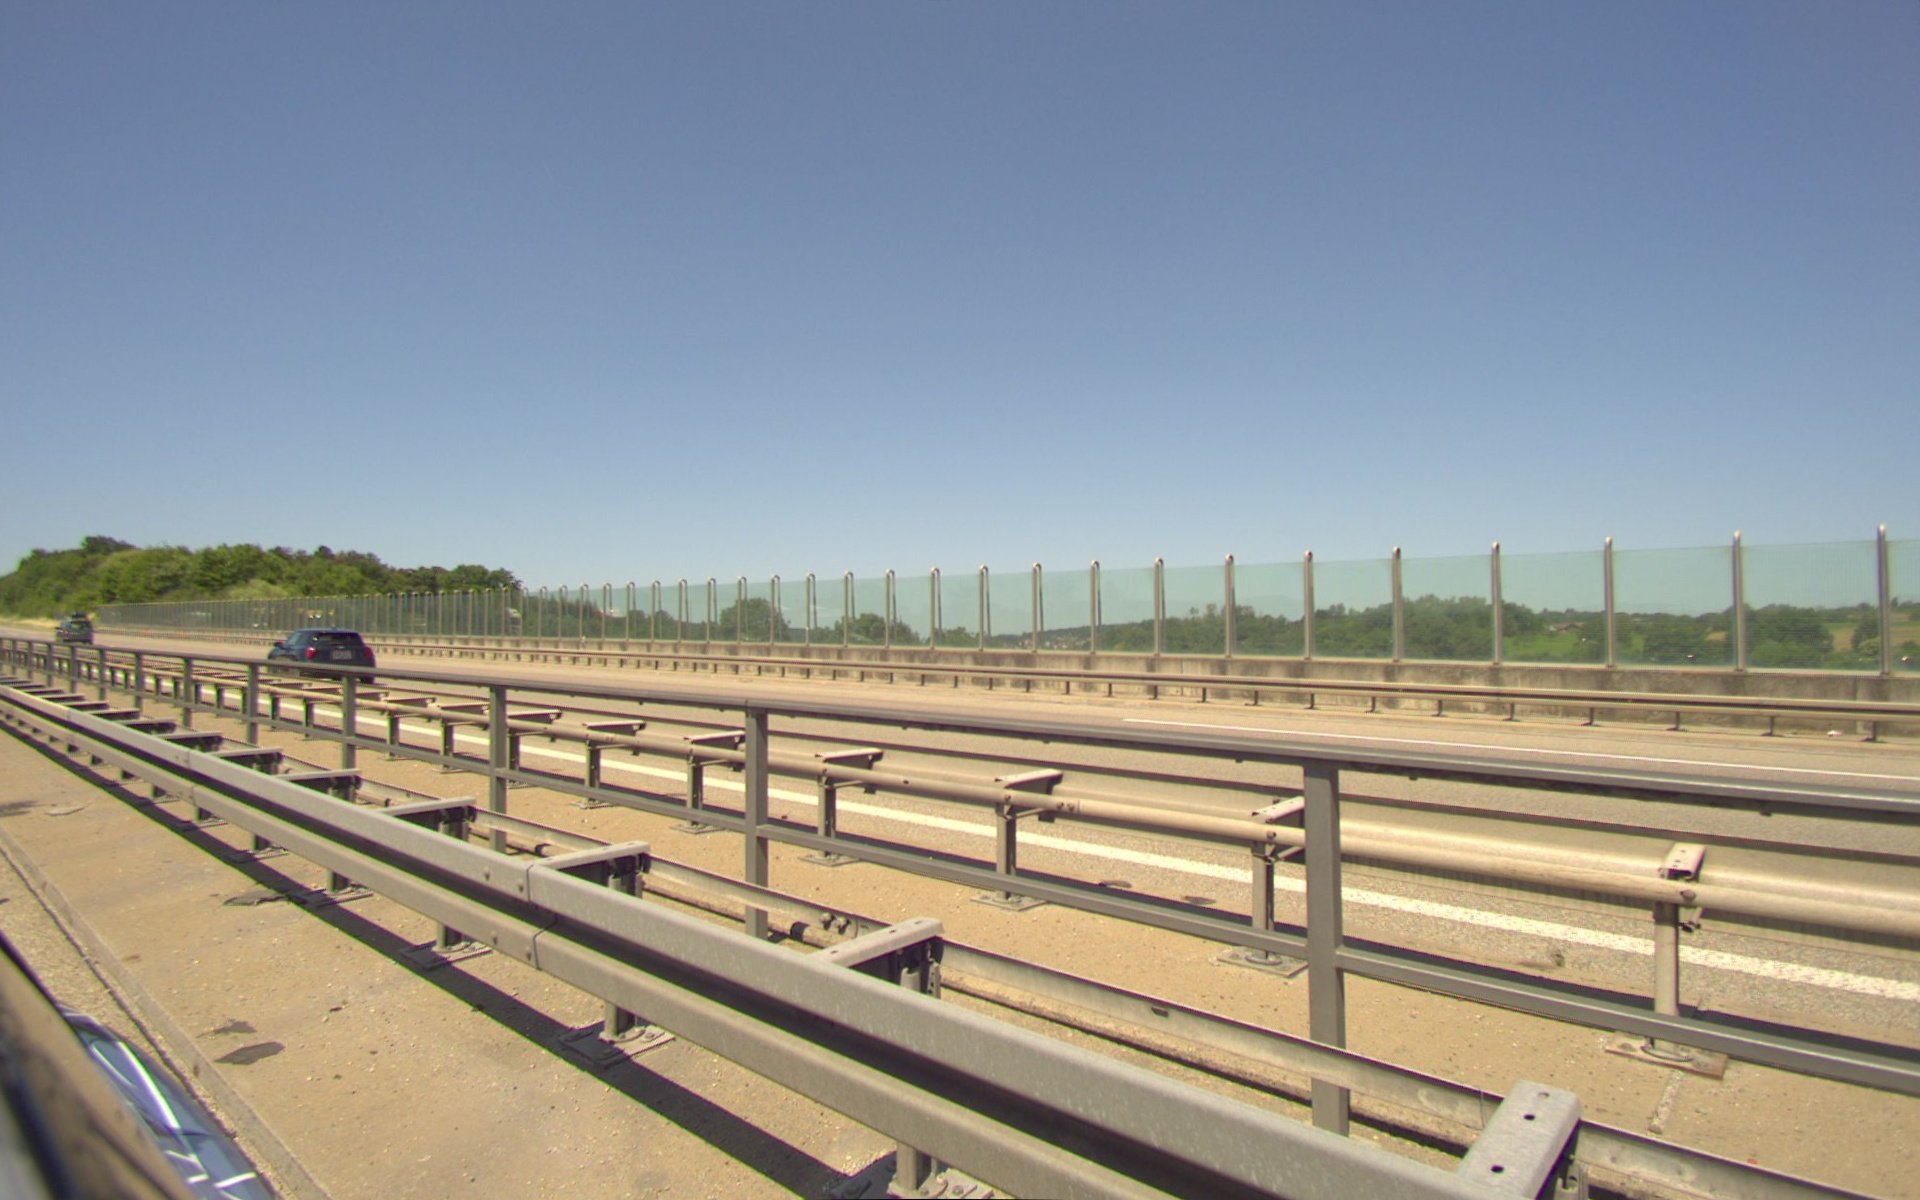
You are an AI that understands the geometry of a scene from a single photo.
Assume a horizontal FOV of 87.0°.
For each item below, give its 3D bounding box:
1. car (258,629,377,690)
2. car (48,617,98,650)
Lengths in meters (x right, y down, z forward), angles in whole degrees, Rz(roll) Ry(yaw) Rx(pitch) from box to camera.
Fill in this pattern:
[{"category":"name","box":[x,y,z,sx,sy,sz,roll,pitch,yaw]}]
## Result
[{"category":"car","box":[-16.710,1.498,26.266,3.700,1.475,1.602,-1,-3,41]},{"category":"car","box":[-63.185,2.391,72.079,4.265,2.233,1.973,-2,-4,41]}]
